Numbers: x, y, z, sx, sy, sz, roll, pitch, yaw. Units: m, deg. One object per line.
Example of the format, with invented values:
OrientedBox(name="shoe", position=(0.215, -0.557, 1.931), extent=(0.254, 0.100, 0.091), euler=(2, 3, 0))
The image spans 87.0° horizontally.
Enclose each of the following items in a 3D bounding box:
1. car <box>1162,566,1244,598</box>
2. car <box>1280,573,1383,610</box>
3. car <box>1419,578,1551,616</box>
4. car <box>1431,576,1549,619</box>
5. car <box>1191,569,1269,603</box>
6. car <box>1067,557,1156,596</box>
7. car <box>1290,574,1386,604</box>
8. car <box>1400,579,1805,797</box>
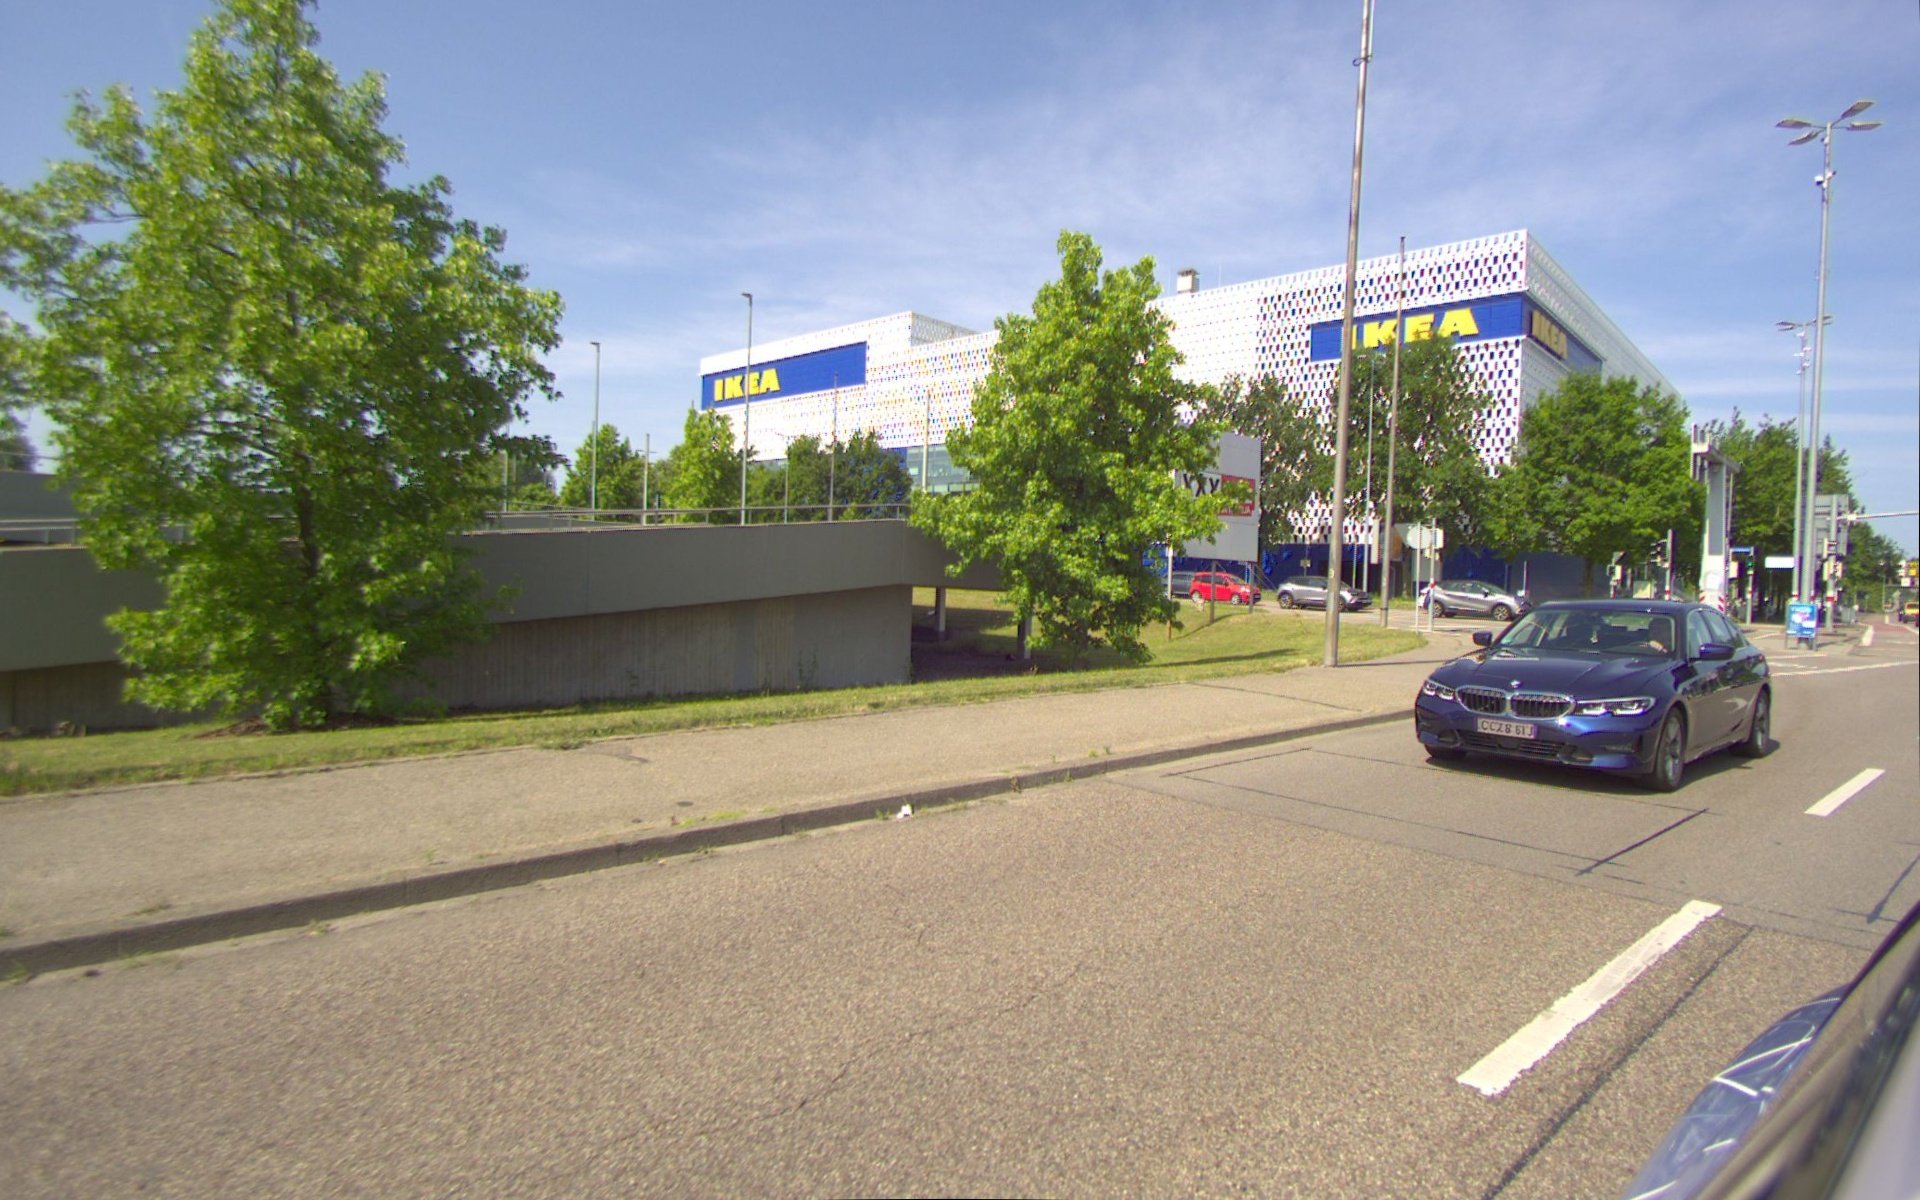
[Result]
OrientedBox(name="car", position=(13.178, -1.003, 54.967), extent=(1.654, 1.640, 4.125), euler=(0, 2, -41))
OrientedBox(name="car", position=(16.991, -0.420, 46.395), extent=(1.877, 1.527, 4.033), euler=(-1, 3, -43))
OrientedBox(name="car", position=(22.761, -0.181, 44.037), extent=(1.926, 1.443, 4.723), euler=(-1, 3, -43))
OrientedBox(name="car", position=(21.452, -0.135, 41.060), extent=(1.777, 1.578, 3.891), euler=(0, 2, -42))
OrientedBox(name="car", position=(13.431, -0.719, 50.425), extent=(1.571, 1.595, 3.476), euler=(1, 1, -42))
OrientedBox(name="car", position=(8.302, -1.333, 55.878), extent=(1.930, 2.000, 4.681), euler=(-2, 3, -43))
OrientedBox(name="car", position=(18.360, -0.547, 49.288), extent=(1.695, 1.358, 4.049), euler=(-1, 2, -43))
OrientedBox(name="car", position=(5.871, 0.597, 9.011), extent=(4.458, 1.447, 1.799), euler=(1, 1, -41))
